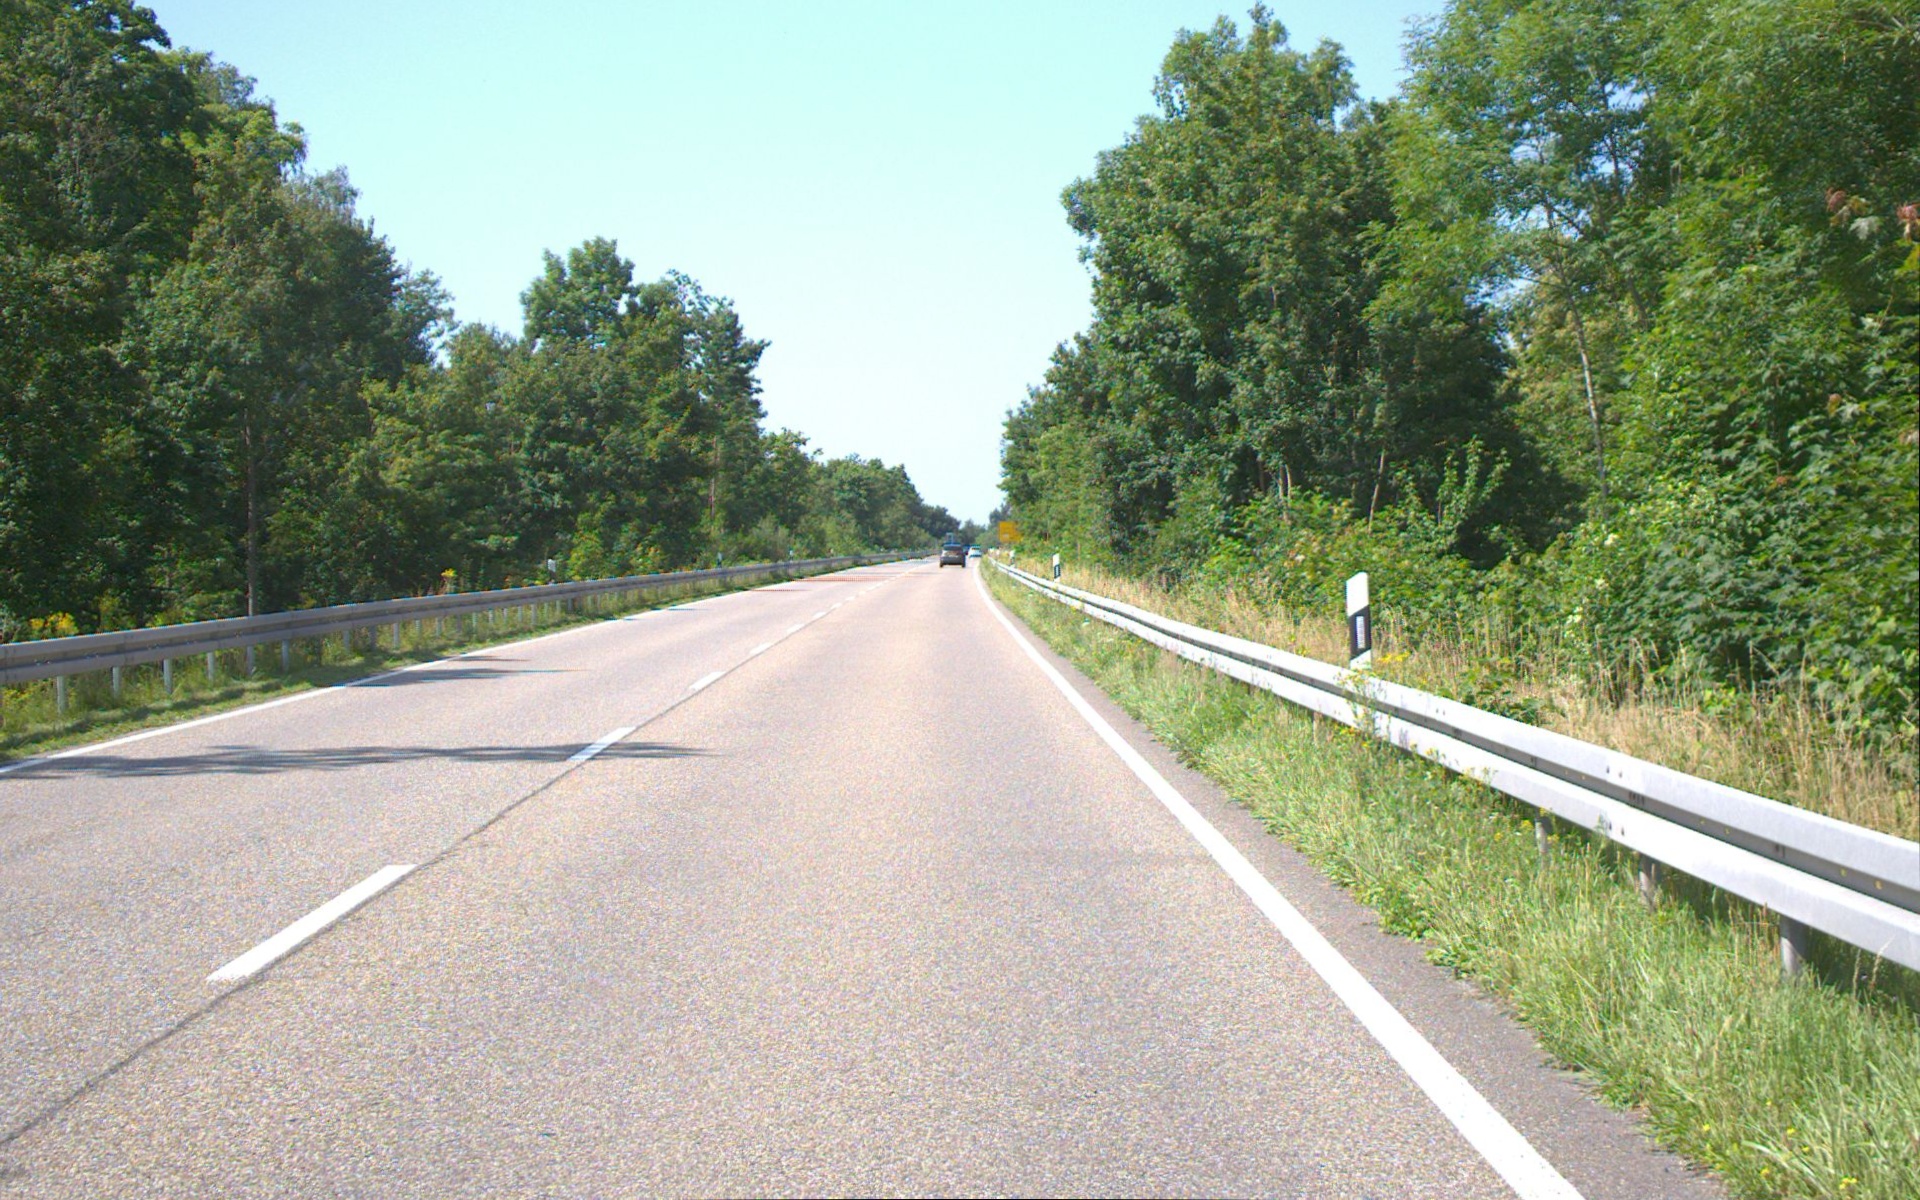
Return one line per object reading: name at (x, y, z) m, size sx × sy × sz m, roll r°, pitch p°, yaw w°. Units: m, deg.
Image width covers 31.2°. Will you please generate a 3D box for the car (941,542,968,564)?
car at (-0.374, -3.235, 235.784) m, size 1.741 × 1.465 × 3.692 m, roll 0°, pitch 1°, yaw 2°
